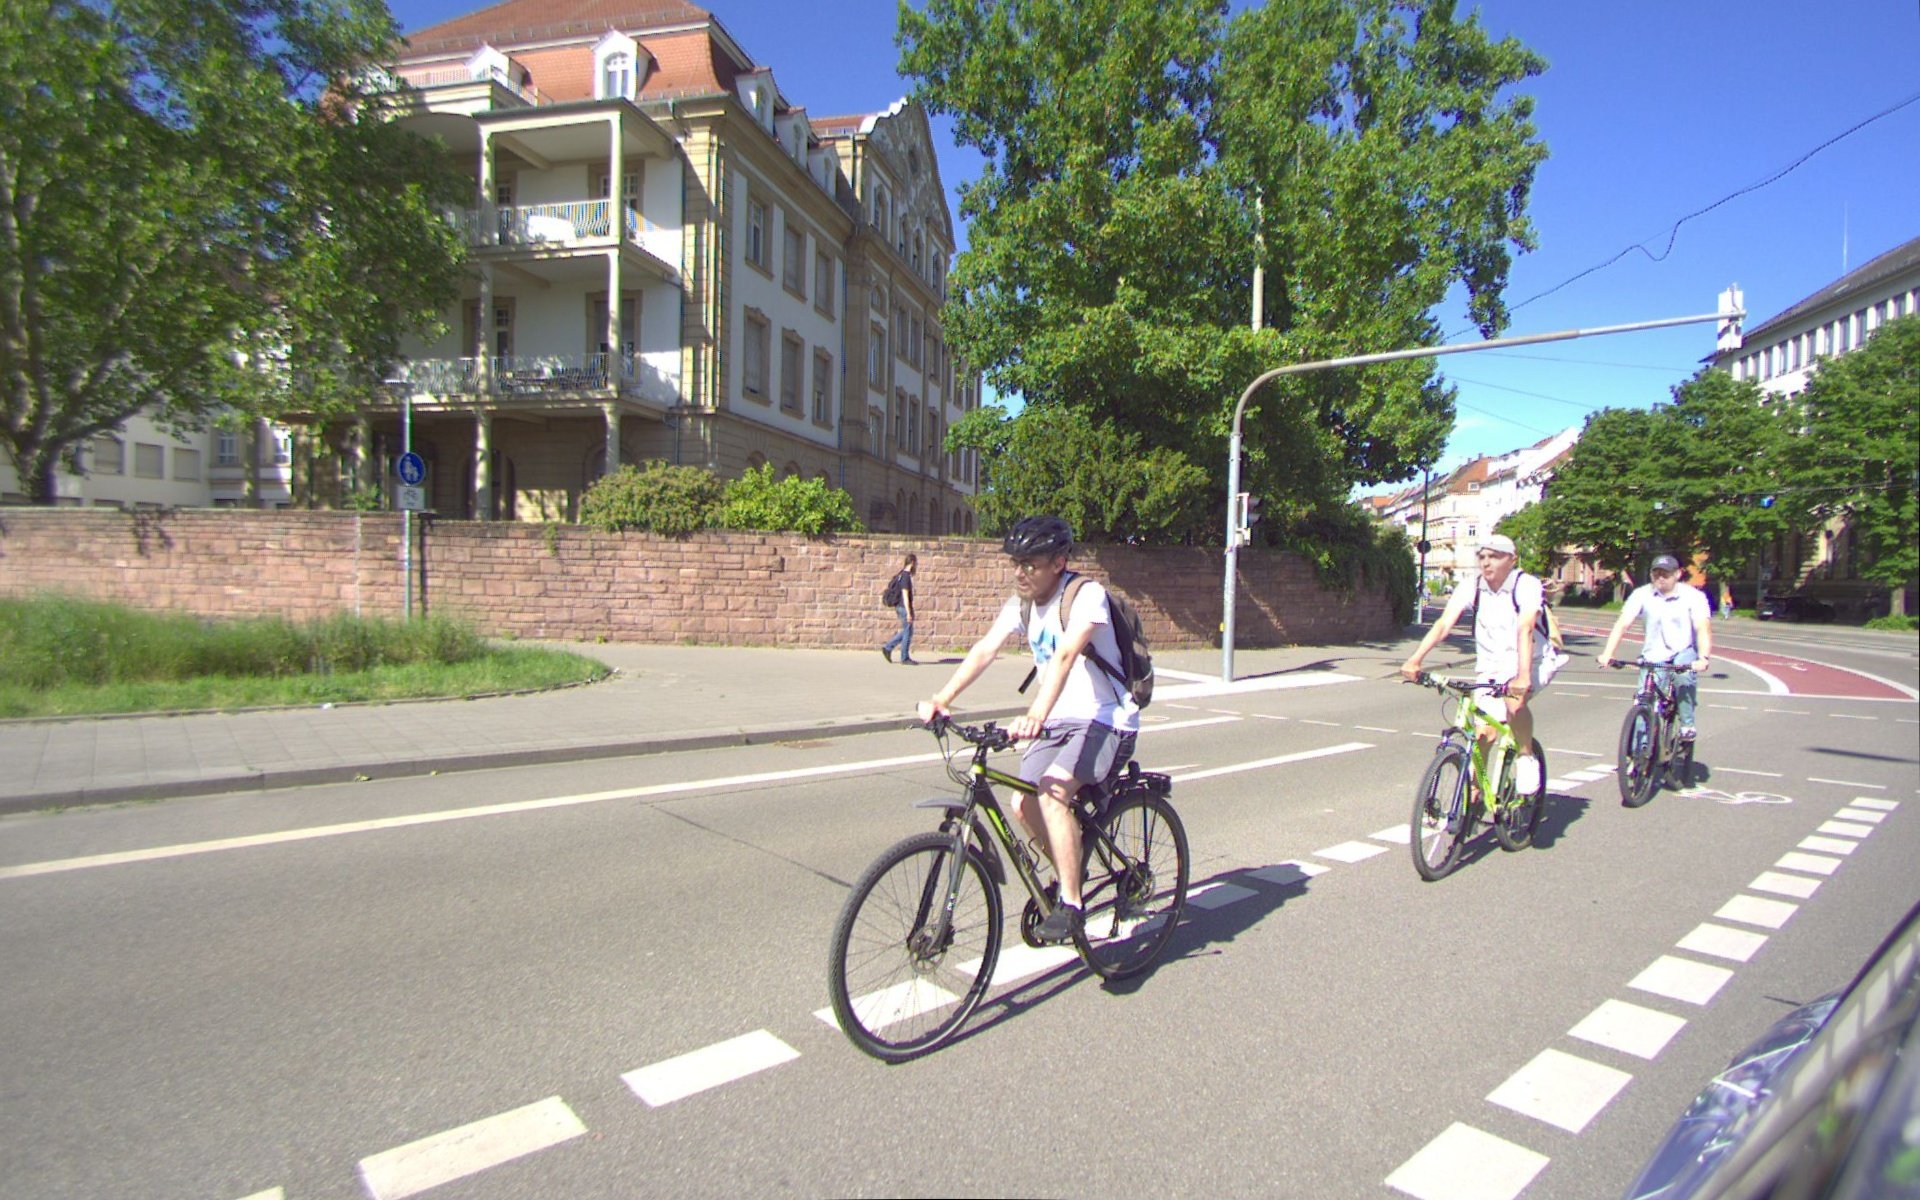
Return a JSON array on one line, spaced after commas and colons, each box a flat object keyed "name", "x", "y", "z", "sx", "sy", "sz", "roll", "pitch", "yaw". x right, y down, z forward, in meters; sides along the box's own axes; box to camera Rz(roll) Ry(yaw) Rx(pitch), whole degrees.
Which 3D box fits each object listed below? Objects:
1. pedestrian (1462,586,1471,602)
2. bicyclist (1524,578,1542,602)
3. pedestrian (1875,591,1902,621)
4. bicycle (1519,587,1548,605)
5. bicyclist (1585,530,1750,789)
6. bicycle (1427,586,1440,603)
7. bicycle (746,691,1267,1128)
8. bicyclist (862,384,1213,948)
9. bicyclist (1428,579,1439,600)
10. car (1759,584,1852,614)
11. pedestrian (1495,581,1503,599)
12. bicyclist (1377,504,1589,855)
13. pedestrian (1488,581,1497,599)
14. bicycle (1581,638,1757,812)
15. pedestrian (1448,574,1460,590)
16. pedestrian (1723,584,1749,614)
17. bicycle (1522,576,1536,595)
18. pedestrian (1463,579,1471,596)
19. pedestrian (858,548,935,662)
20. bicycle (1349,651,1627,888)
[{"name": "pedestrian", "x": 57.709, "y": -0.682, "z": 115.350, "sx": 0.719, "sy": 1.879, "sz": 0.650, "roll": 2, "pitch": 1, "yaw": 17}, {"name": "bicyclist", "x": 39.846, "y": -0.693, "z": 70.394, "sx": 0.863, "sy": 1.602, "sz": 0.745, "roll": 0, "pitch": 2, "yaw": 2}, {"name": "pedestrian", "x": 51.051, "y": 0.311, "z": 55.651, "sx": 0.662, "sy": 1.586, "sz": 0.856, "roll": -3, "pitch": 1, "yaw": 10}, {"name": "bicycle", "x": 39.912, "y": -0.285, "z": 70.401, "sx": 1.569, "sy": 1.166, "sz": 0.745, "roll": 0, "pitch": 2, "yaw": 2}, {"name": "bicyclist", "x": 5.339, "y": 0.399, "z": 7.634, "sx": 0.996, "sy": 1.798, "sz": 0.751, "roll": 0, "pitch": 1, "yaw": -39}, {"name": "bicycle", "x": 33.447, "y": -0.392, "z": 71.513, "sx": 0.657, "sy": 1.166, "sz": 1.663, "roll": 0, "pitch": 2, "yaw": 18}, {"name": "bicycle", "x": 0.250, "y": 0.894, "z": 3.550, "sx": 1.851, "sy": 0.972, "sz": 0.723, "roll": 0, "pitch": 0, "yaw": -41}, {"name": "bicyclist", "x": 0.284, "y": 0.185, "z": 3.575, "sx": 1.036, "sy": 1.646, "sz": 0.723, "roll": 0, "pitch": 0, "yaw": -41}, {"name": "bicyclist", "x": 33.438, "y": -0.728, "z": 71.487, "sx": 0.657, "sy": 1.479, "sz": 0.619, "roll": 0, "pitch": 2, "yaw": 19}, {"name": "car", "x": 48.111, "y": -0.068, "z": 57.612, "sx": 4.024, "sy": 1.593, "sz": 1.925, "roll": 1, "pitch": 2, "yaw": -12}, {"name": "pedestrian", "x": 56.902, "y": -1.066, "z": 106.785, "sx": 0.571, "sy": 1.879, "sz": 0.681, "roll": 2, "pitch": 1, "yaw": 15}, {"name": "bicyclist", "x": 2.934, "y": 0.398, "z": 5.672, "sx": 0.987, "sy": 1.769, "sz": 0.665, "roll": 0, "pitch": -1, "yaw": -37}, {"name": "pedestrian", "x": 56.258, "y": -1.067, "z": 106.927, "sx": 0.571, "sy": 1.879, "sz": 0.681, "roll": 2, "pitch": 1, "yaw": 15}, {"name": "bicycle", "x": 5.418, "y": 0.882, "z": 7.695, "sx": 1.797, "sy": 1.090, "sz": 0.612, "roll": -1, "pitch": 1, "yaw": -39}, {"name": "pedestrian", "x": 55.627, "y": -2.035, "z": 114.042, "sx": 0.913, "sy": 1.759, "sz": 0.679, "roll": 1, "pitch": 1, "yaw": -4}, {"name": "pedestrian", "x": 46.069, "y": -0.069, "z": 60.073, "sx": 0.759, "sy": 1.690, "sz": 1.030, "roll": 3, "pitch": -2, "yaw": 10}, {"name": "bicycle", "x": 58.029, "y": -1.495, "z": 103.198, "sx": 0.996, "sy": 1.910, "sz": 3.851, "roll": 1, "pitch": 2, "yaw": 32}, {"name": "pedestrian", "x": 57.694, "y": -1.419, "z": 115.183, "sx": 0.571, "sy": 1.879, "sz": 0.681, "roll": 2, "pitch": 1, "yaw": 15}, {"name": "pedestrian", "x": -1.078, "y": 0.073, "z": 17.113, "sx": 1.028, "sy": 1.854, "sz": 0.761, "roll": 1, "pitch": 2, "yaw": -30}, {"name": "bicycle", "x": 3.043, "y": 0.866, "z": 5.759, "sx": 1.855, "sy": 1.060, "sz": 0.664, "roll": -1, "pitch": -1, "yaw": -37}]
